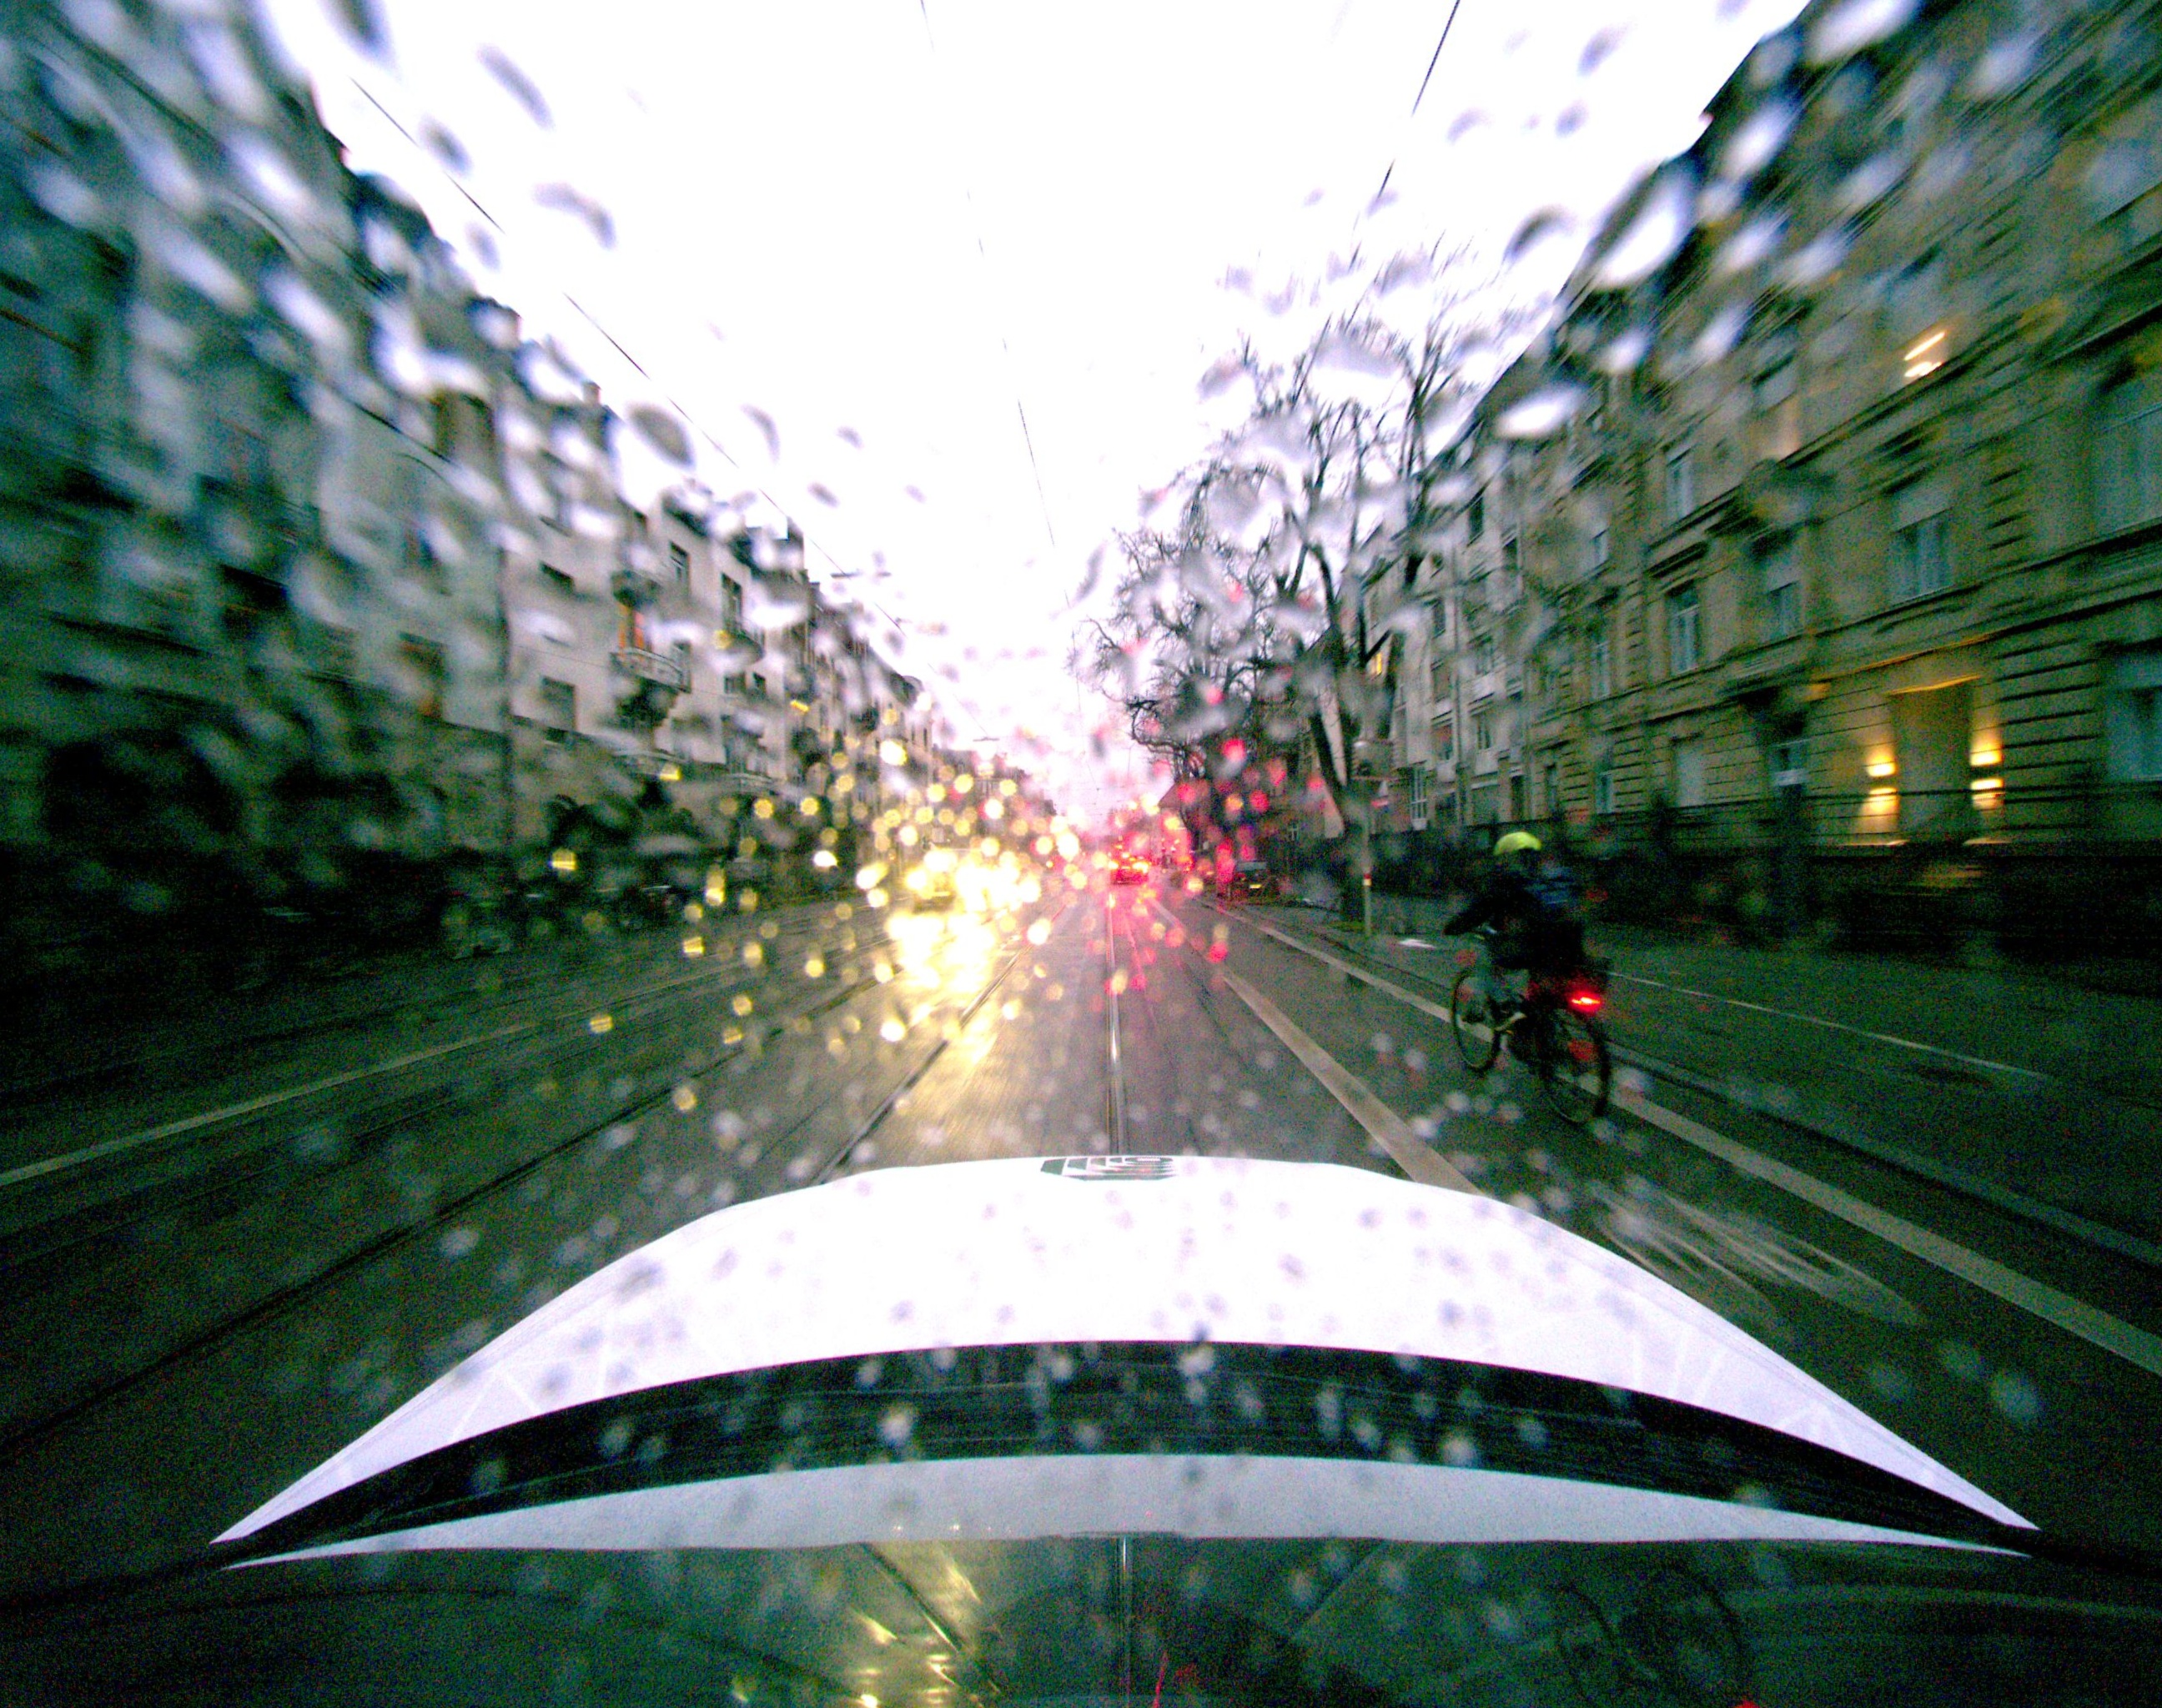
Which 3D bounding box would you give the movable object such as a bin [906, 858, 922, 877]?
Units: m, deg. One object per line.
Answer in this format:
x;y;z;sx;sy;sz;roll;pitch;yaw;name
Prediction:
-14.193;1.145;69.358;1.009;1.600;1.082;-2;0;4;movable object such as a bin

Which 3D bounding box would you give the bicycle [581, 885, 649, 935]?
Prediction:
-10.349;1.245;18.143;0.691;1.031;1.591;-3;-4;-5;bicycle

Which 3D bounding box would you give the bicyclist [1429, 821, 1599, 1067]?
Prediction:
2.756;0.537;5.272;0.653;1.446;0.851;-2;0;5;bicyclist

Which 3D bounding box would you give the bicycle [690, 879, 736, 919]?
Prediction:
-10.182;1.225;22.555;0.691;1.031;1.592;-2;-2;-7;bicycle

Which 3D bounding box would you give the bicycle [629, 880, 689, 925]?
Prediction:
-10.308;1.188;19.954;0.690;1.031;1.594;-3;-4;-3;bicycle

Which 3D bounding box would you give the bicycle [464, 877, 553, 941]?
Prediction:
-12.116;1.176;17.254;1.582;1.264;0.490;-3;-5;5;bicycle

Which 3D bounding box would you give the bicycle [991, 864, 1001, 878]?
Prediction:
-7.473;1.473;71.884;0.714;1.110;2.063;-2;0;-2;bicycle

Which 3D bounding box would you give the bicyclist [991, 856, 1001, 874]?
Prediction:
-7.493;0.964;71.929;0.714;1.602;0.930;-2;0;-2;bicyclist

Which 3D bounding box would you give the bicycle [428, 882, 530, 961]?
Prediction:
-10.440;1.136;14.186;0.691;1.212;1.592;-2;0;-7;bicycle

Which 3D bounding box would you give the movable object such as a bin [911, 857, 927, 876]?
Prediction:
-14.244;1.052;71.555;1.009;1.600;1.082;-2;0;4;movable object such as a bin

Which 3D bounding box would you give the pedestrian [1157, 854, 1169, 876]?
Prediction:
7.877;1.068;78.181;1.019;2.013;0.919;-2;0;-2;pedestrian

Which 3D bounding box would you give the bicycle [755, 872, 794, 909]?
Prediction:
-9.923;1.171;26.438;0.484;1.099;1.931;-3;0;0;bicycle

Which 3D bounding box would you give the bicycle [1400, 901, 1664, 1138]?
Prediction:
2.788;0.942;5.336;0.704;1.096;2.032;-2;0;5;bicycle

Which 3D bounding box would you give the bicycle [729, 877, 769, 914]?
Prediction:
-10.001;1.230;24.555;0.691;1.031;1.592;-2;-1;-7;bicycle

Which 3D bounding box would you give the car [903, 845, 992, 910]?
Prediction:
-4.355;0.698;27.424;2.039;1.922;5.099;-2;0;0;car

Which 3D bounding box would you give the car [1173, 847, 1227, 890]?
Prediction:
5.843;0.653;40.623;1.986;1.900;5.028;-2;0;1;car

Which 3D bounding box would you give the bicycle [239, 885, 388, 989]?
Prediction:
-10.420;1.084;11.140;0.629;1.212;1.592;-2;0;-7;bicycle

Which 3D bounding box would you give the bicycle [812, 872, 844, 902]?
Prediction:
-9.753;1.260;31.490;0.623;1.017;1.805;-3;0;0;bicycle

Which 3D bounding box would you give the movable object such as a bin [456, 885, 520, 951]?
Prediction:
-11.094;1.186;15.264;0.694;1.137;0.739;-2;0;-13;movable object such as a bin

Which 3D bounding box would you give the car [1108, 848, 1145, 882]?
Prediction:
2.660;0.686;48.239;1.986;1.897;4.759;-1;-1;1;car

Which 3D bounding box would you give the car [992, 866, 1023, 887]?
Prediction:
-4.850;1.450;54.291;1.655;1.198;3.874;-2;0;0;car

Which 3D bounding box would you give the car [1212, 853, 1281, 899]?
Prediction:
5.808;0.736;29.026;1.671;1.460;4.043;-2;0;1;car

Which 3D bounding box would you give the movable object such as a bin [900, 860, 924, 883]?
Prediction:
-12.091;1.266;58.313;1.404;1.530;1.365;-2;0;1;movable object such as a bin

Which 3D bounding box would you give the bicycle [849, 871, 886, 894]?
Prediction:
-11.222;1.489;42.844;1.802;1.080;0.615;-2;0;-6;bicycle

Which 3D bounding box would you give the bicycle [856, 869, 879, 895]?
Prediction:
-9.669;1.261;36.984;0.613;1.080;1.809;-2;0;-3;bicycle

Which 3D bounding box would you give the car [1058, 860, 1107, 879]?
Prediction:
0.183;1.613;85.512;4.924;1.717;1.699;-2;0;3;car
